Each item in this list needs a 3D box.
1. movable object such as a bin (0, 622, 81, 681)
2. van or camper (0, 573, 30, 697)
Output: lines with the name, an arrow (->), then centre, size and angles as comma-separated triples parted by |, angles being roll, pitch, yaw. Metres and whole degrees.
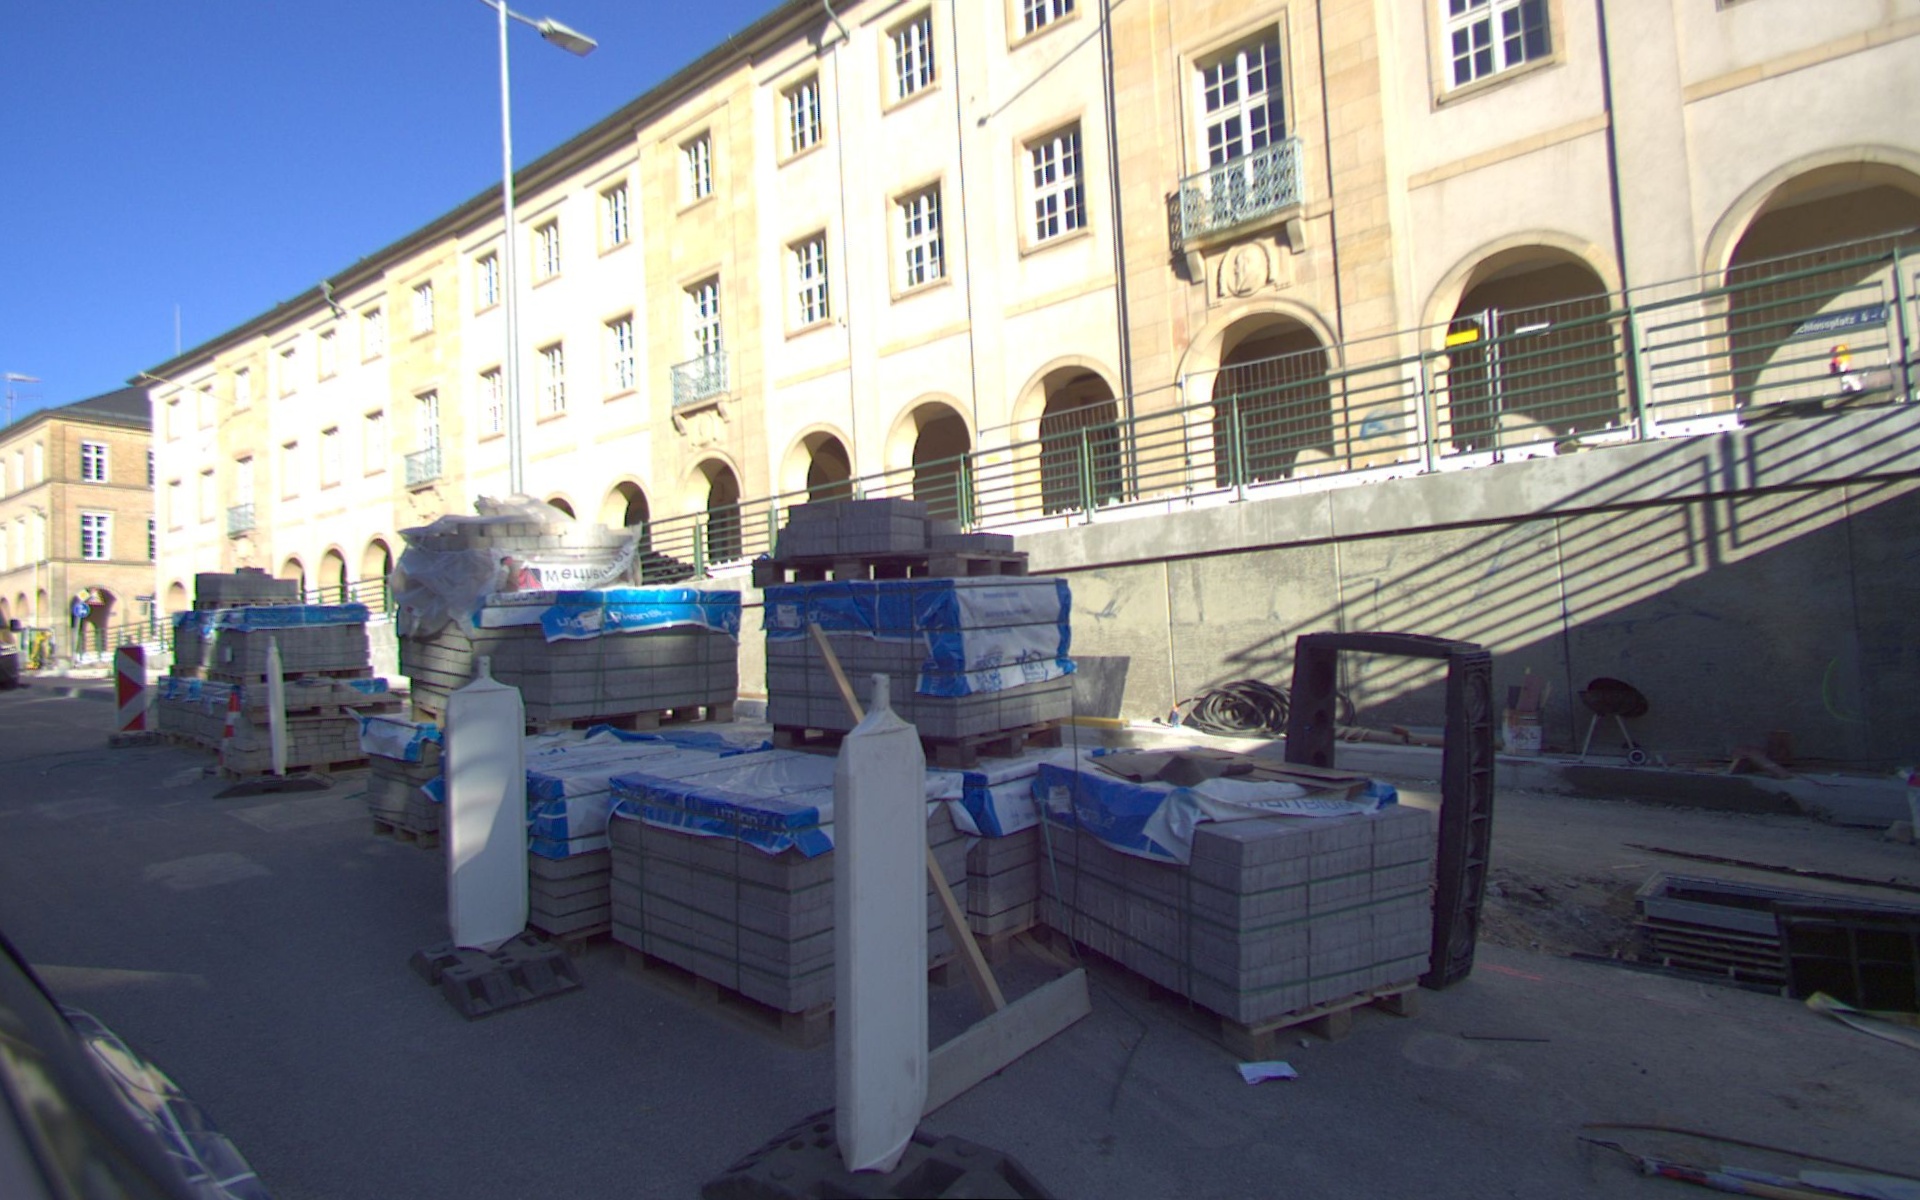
movable object such as a bin -> -40.850, 2.320, 44.612 | 4.296, 2.414, 2.082 | -4, -5, 34
van or camper -> -23.607, 0.876, 23.066 | 6.810, 2.632, 2.175 | -2, 0, 36
